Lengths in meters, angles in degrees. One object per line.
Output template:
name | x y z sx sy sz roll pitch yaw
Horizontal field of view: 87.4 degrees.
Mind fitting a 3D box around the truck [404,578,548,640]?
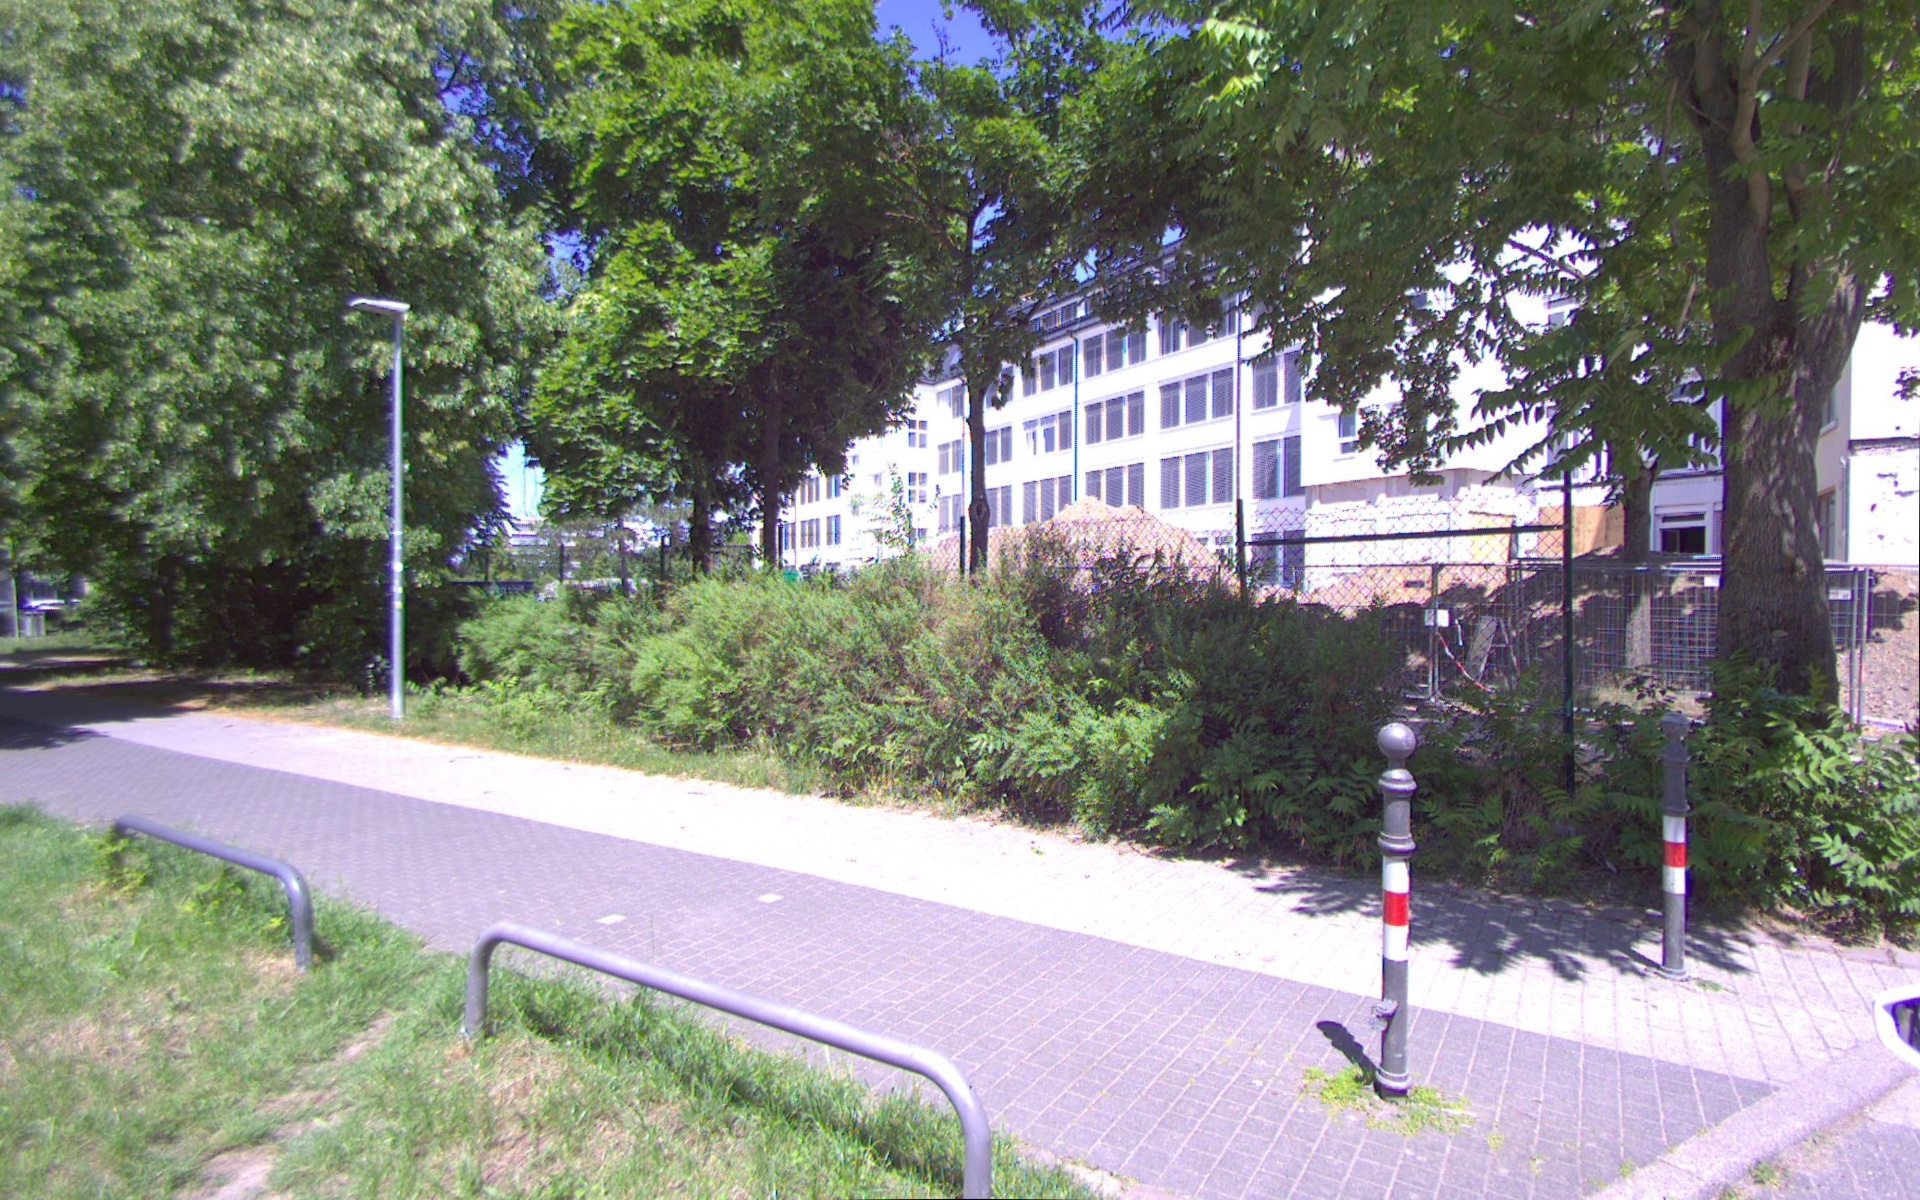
truck | -16.892 0.320 35.072 4.405 2.021 1.984 1 0 -30

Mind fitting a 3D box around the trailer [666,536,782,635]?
trailer | -9.549 -0.539 39.809 2.999 3.467 8.722 1 0 -23

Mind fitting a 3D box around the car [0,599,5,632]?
car | -39.468 0.615 38.952 1.728 1.261 3.478 1 1 44
